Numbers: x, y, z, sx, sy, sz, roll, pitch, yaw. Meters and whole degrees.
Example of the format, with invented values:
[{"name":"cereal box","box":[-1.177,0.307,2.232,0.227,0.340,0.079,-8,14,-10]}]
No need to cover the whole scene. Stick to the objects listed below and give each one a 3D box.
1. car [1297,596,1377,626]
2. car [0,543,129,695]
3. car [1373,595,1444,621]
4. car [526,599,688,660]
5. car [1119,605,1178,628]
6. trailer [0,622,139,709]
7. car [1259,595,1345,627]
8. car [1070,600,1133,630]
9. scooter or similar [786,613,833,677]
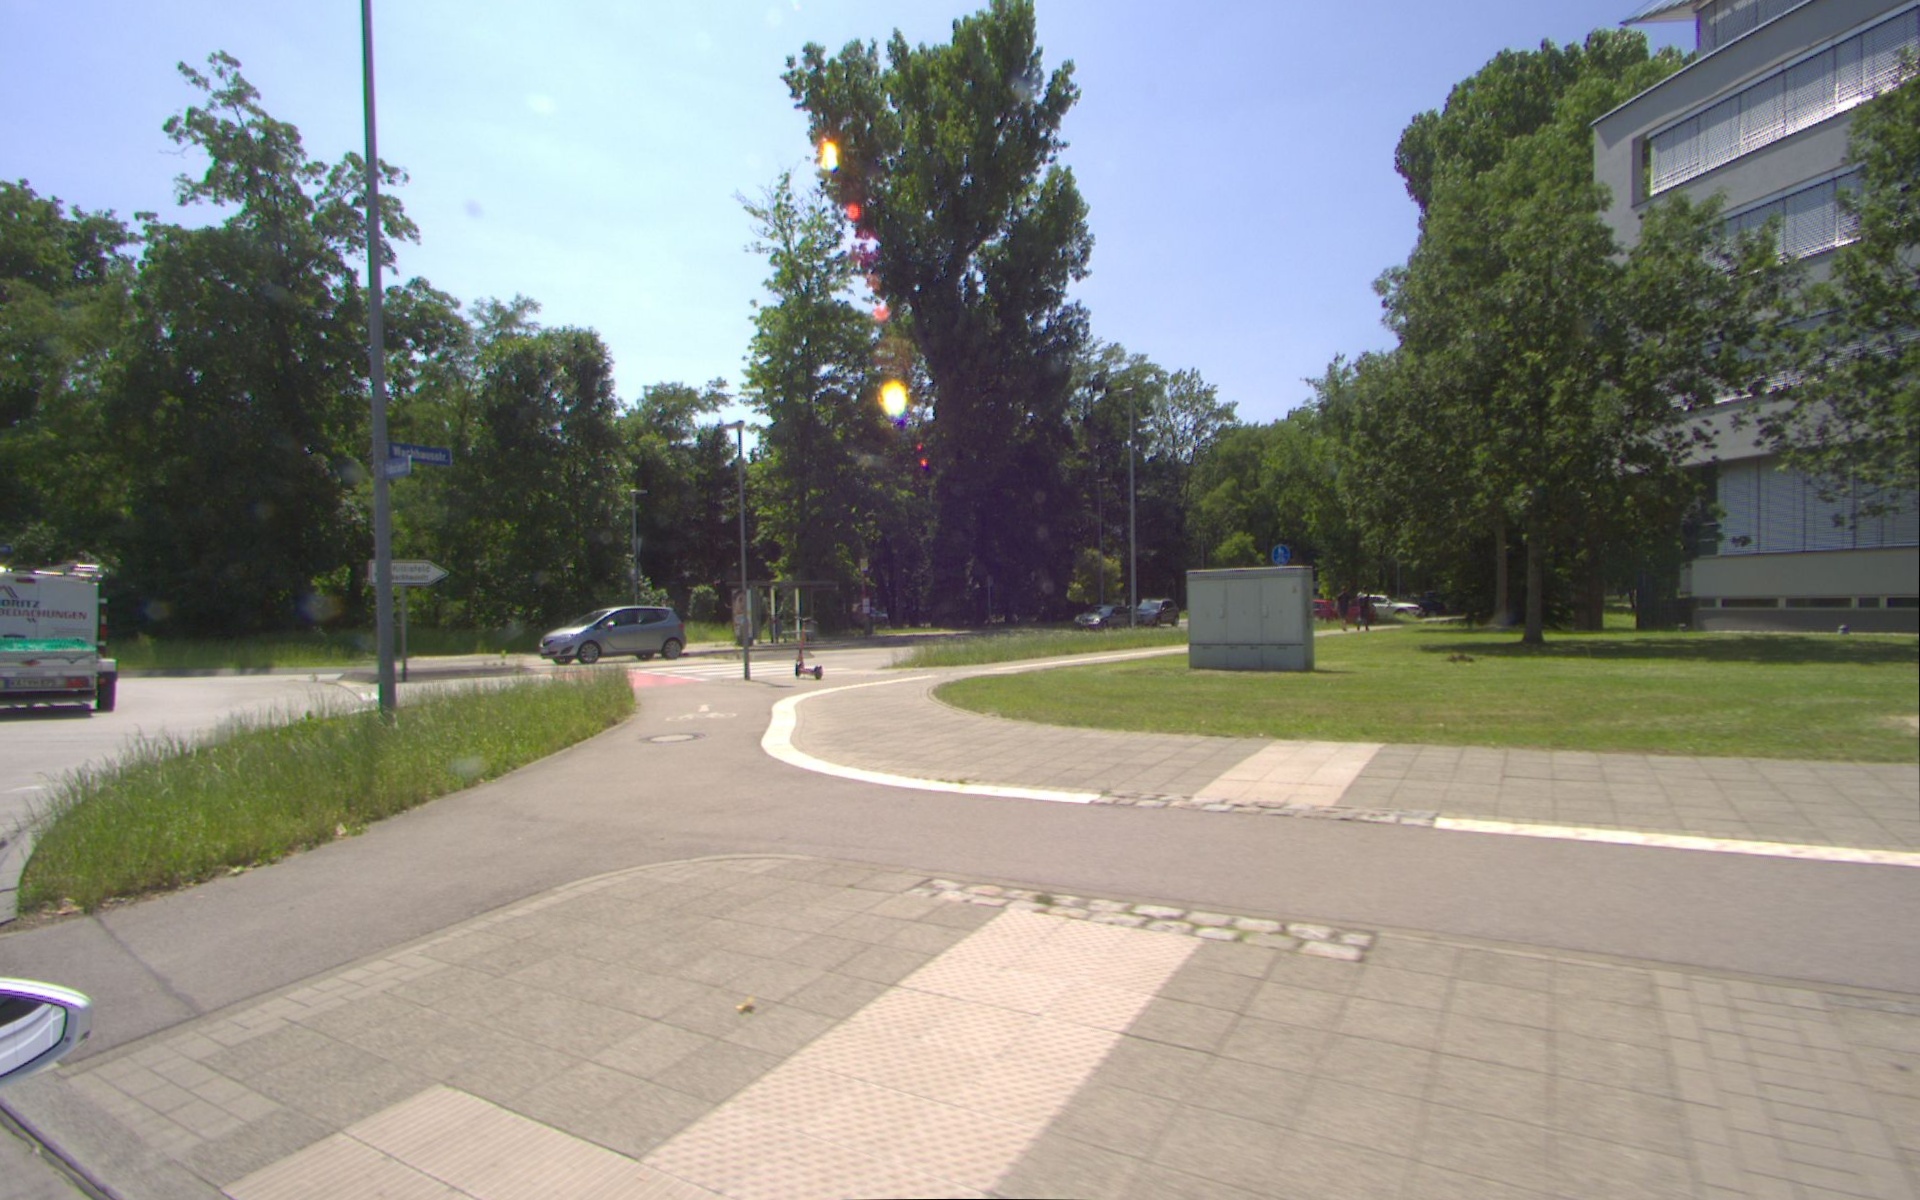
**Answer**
[{"name":"car","box":[19.808,0.600,52.649,3.633,1.502,1.859,-1,-1,33]},{"name":"car","box":[-16.339,0.350,17.395,4.924,2.346,2.156,-1,-1,41]},{"name":"car","box":[26.796,0.483,59.872,3.633,1.502,1.859,-1,-1,33]},{"name":"car","box":[-10.135,0.819,28.947,1.771,1.627,4.091,-1,-1,43]},{"name":"car","box":[11.232,0.968,59.583,1.974,1.327,3.974,-1,-1,36]},{"name":"trailer","box":[-13.445,0.902,14.562,2.107,1.111,3.323,0,-1,-44]},{"name":"car","box":[16.699,0.570,48.951,3.633,1.502,1.859,-1,-1,33]},{"name":"car","box":[7.745,0.815,54.434,1.680,1.506,3.974,2,1,36]},{"name":"scooter or similar","box":[-2.984,0.873,19.797,0.441,1.217,1.391,-1,-1,-30]}]
